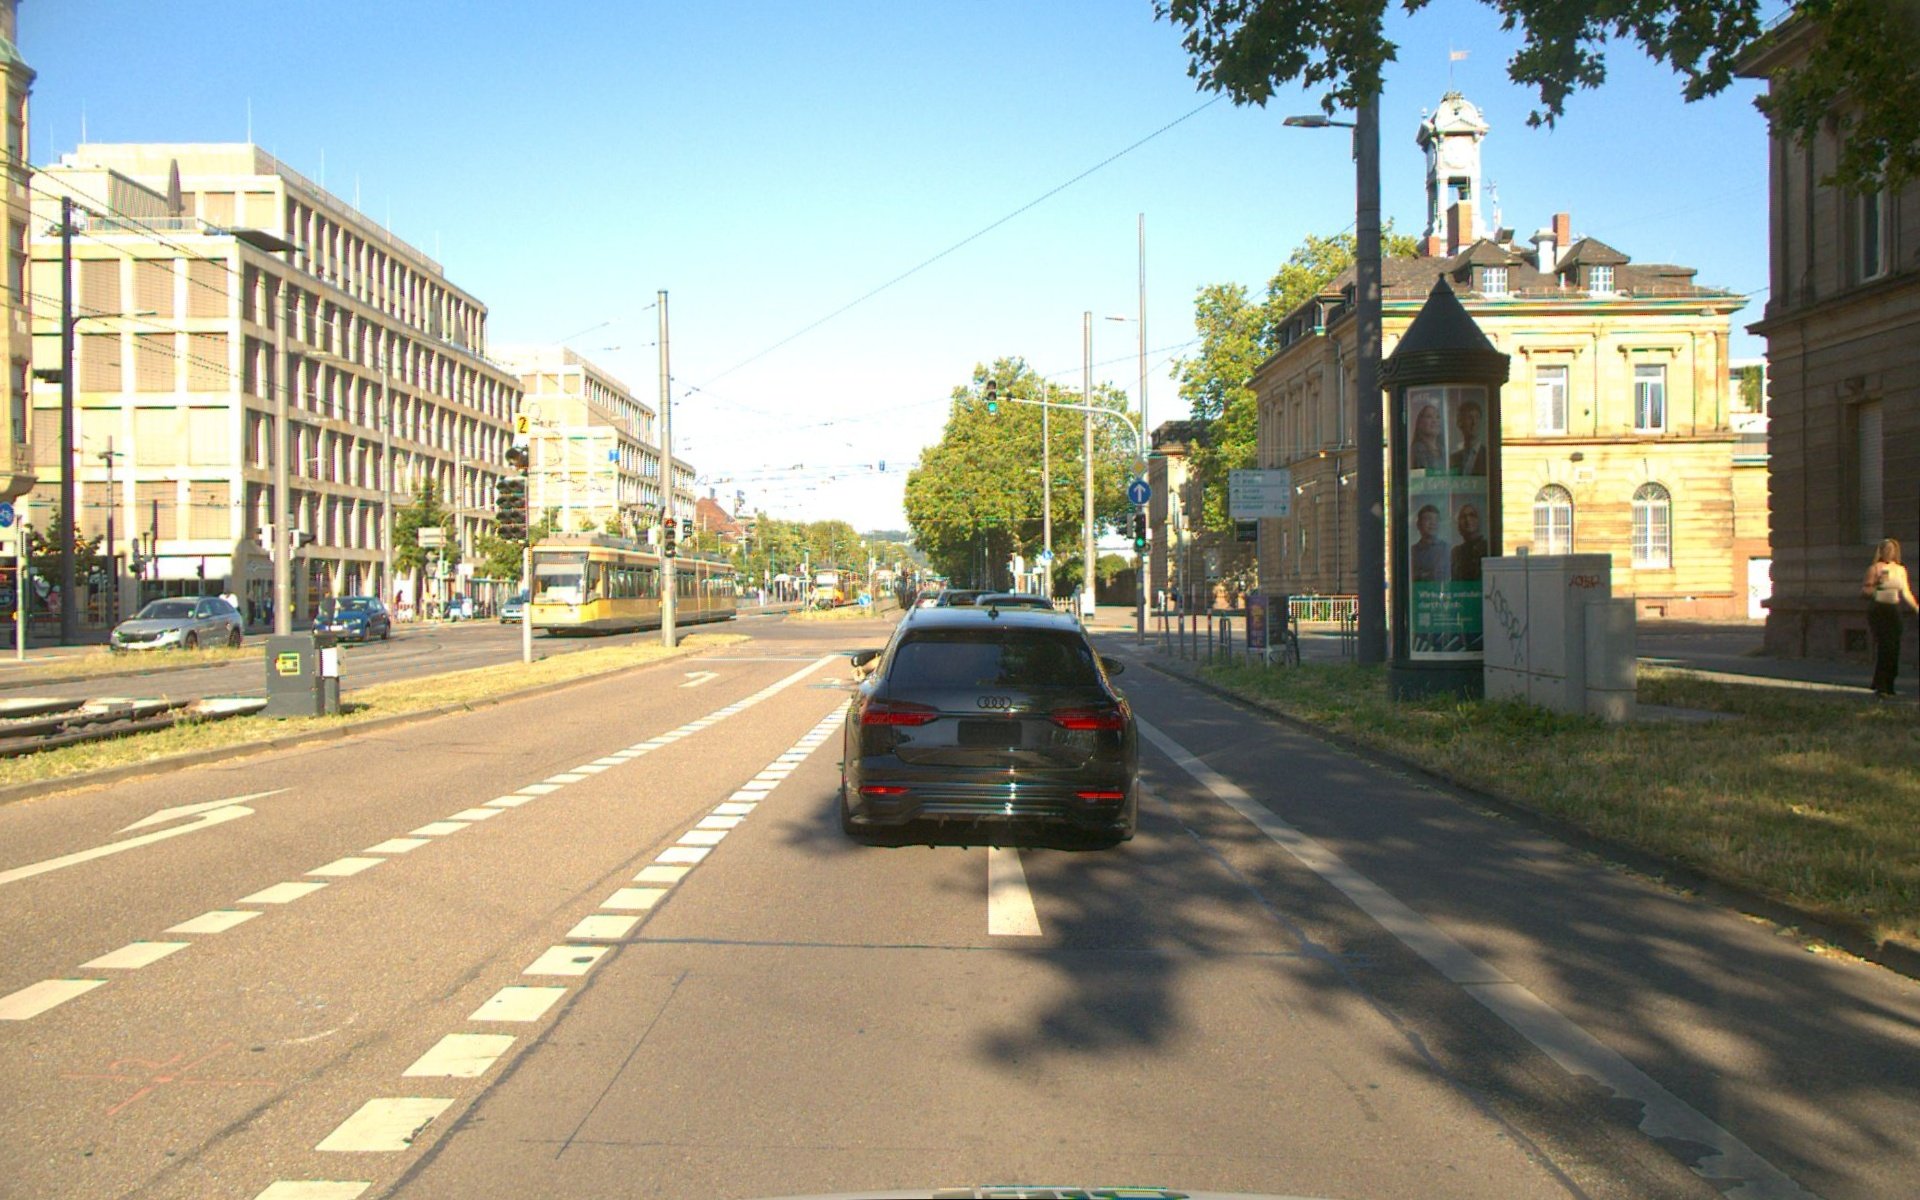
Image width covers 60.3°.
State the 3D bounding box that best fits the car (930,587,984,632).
[{"bbox_3d":[-0.108,0.308,59.548,1.864,1.512,4.144,1,0,0],"label":"car"}]

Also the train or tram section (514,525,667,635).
[{"bbox_3d":[-13.281,-0.700,60.843,2.755,3.550,13.202,-1,0,-1],"label":"train or tram section"}]

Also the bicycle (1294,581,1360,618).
[{"bbox_3d":[12.852,-0.018,57.919,2.094,1.230,0.765,-2,0,-3],"label":"bicycle"}]

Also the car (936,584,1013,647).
[{"bbox_3d":[0.362,0.378,42.719,1.864,1.512,4.144,1,0,0],"label":"car"}]

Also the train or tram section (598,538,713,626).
[{"bbox_3d":[-13.406,-0.776,74.043,2.755,3.550,13.202,-1,0,-1],"label":"train or tram section"}]

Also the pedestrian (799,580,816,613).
[{"bbox_3d":[-8.229,-0.170,89.323,0.729,1.772,0.659,-1,0,-22],"label":"pedestrian"}]

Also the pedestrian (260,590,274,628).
[{"bbox_3d":[-34.619,0.468,82.659,0.527,1.876,0.437,-1,0,-39],"label":"pedestrian"}]

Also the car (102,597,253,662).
[{"bbox_3d":[-19.365,0.679,41.152,1.784,1.482,4.537,-1,0,-3],"label":"car"}]

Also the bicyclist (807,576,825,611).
[{"bbox_3d":[-7.638,-0.339,87.887,0.745,1.850,0.760,-1,0,-20],"label":"bicyclist"}]

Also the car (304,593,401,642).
[{"bbox_3d":[-19.643,0.540,53.612,1.784,1.482,4.154,-1,0,-3],"label":"car"}]

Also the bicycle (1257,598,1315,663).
[{"bbox_3d":[5.668,0.509,28.855,0.529,1.080,1.770,-1,0,-4],"label":"bicycle"}]

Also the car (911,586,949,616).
[{"bbox_3d":[-1.615,0.044,88.612,1.865,1.512,4.142,1,0,-3],"label":"car"}]

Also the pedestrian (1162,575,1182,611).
[{"bbox_3d":[11.254,-0.356,87.966,0.959,1.898,0.827,-1,0,1],"label":"pedestrian"}]

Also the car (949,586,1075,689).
[{"bbox_3d":[0.774,0.549,26.828,1.864,1.512,4.144,1,0,0],"label":"car"}]

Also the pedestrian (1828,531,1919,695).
[{"bbox_3d":[10.166,0.129,18.121,0.753,1.739,1.042,-1,0,1],"label":"pedestrian"}]

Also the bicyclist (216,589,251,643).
[{"bbox_3d":[-21.737,0.483,49.503,0.671,1.590,0.785,-1,0,0],"label":"bicyclist"}]

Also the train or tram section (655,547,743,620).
[{"bbox_3d":[-13.523,-0.844,86.715,2.755,3.550,12.152,-1,0,-1],"label":"train or tram section"}]

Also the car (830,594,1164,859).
[{"bbox_3d":[0.205,0.708,11.423,1.864,1.446,4.144,1,0,0],"label":"car"}]

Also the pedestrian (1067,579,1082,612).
[{"bbox_3d":[5.875,-0.227,84.797,0.668,1.689,0.758,-1,0,-3],"label":"pedestrian"}]

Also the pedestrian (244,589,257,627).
[{"bbox_3d":[-35.259,0.409,82.231,0.469,1.876,0.437,-1,0,-39],"label":"pedestrian"}]

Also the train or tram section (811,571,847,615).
[{"bbox_3d":[-11.039,-0.603,140.212,2.556,3.511,11.127,-1,0,-2],"label":"train or tram section"}]

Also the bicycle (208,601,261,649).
[{"bbox_3d":[-21.731,0.732,49.578,0.671,1.406,1.947,-1,0,1],"label":"bicycle"}]

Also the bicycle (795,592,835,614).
[{"bbox_3d":[-7.721,0.154,87.865,1.976,1.127,0.760,-1,0,-21],"label":"bicycle"}]

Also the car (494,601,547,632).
[{"bbox_3d":[-22.541,0.819,84.952,1.784,1.482,4.154,-1,0,-3],"label":"car"}]

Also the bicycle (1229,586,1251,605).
[{"bbox_3d":[16.363,-0.251,96.727,0.516,1.065,2.354,-1,0,-9],"label":"bicycle"}]
